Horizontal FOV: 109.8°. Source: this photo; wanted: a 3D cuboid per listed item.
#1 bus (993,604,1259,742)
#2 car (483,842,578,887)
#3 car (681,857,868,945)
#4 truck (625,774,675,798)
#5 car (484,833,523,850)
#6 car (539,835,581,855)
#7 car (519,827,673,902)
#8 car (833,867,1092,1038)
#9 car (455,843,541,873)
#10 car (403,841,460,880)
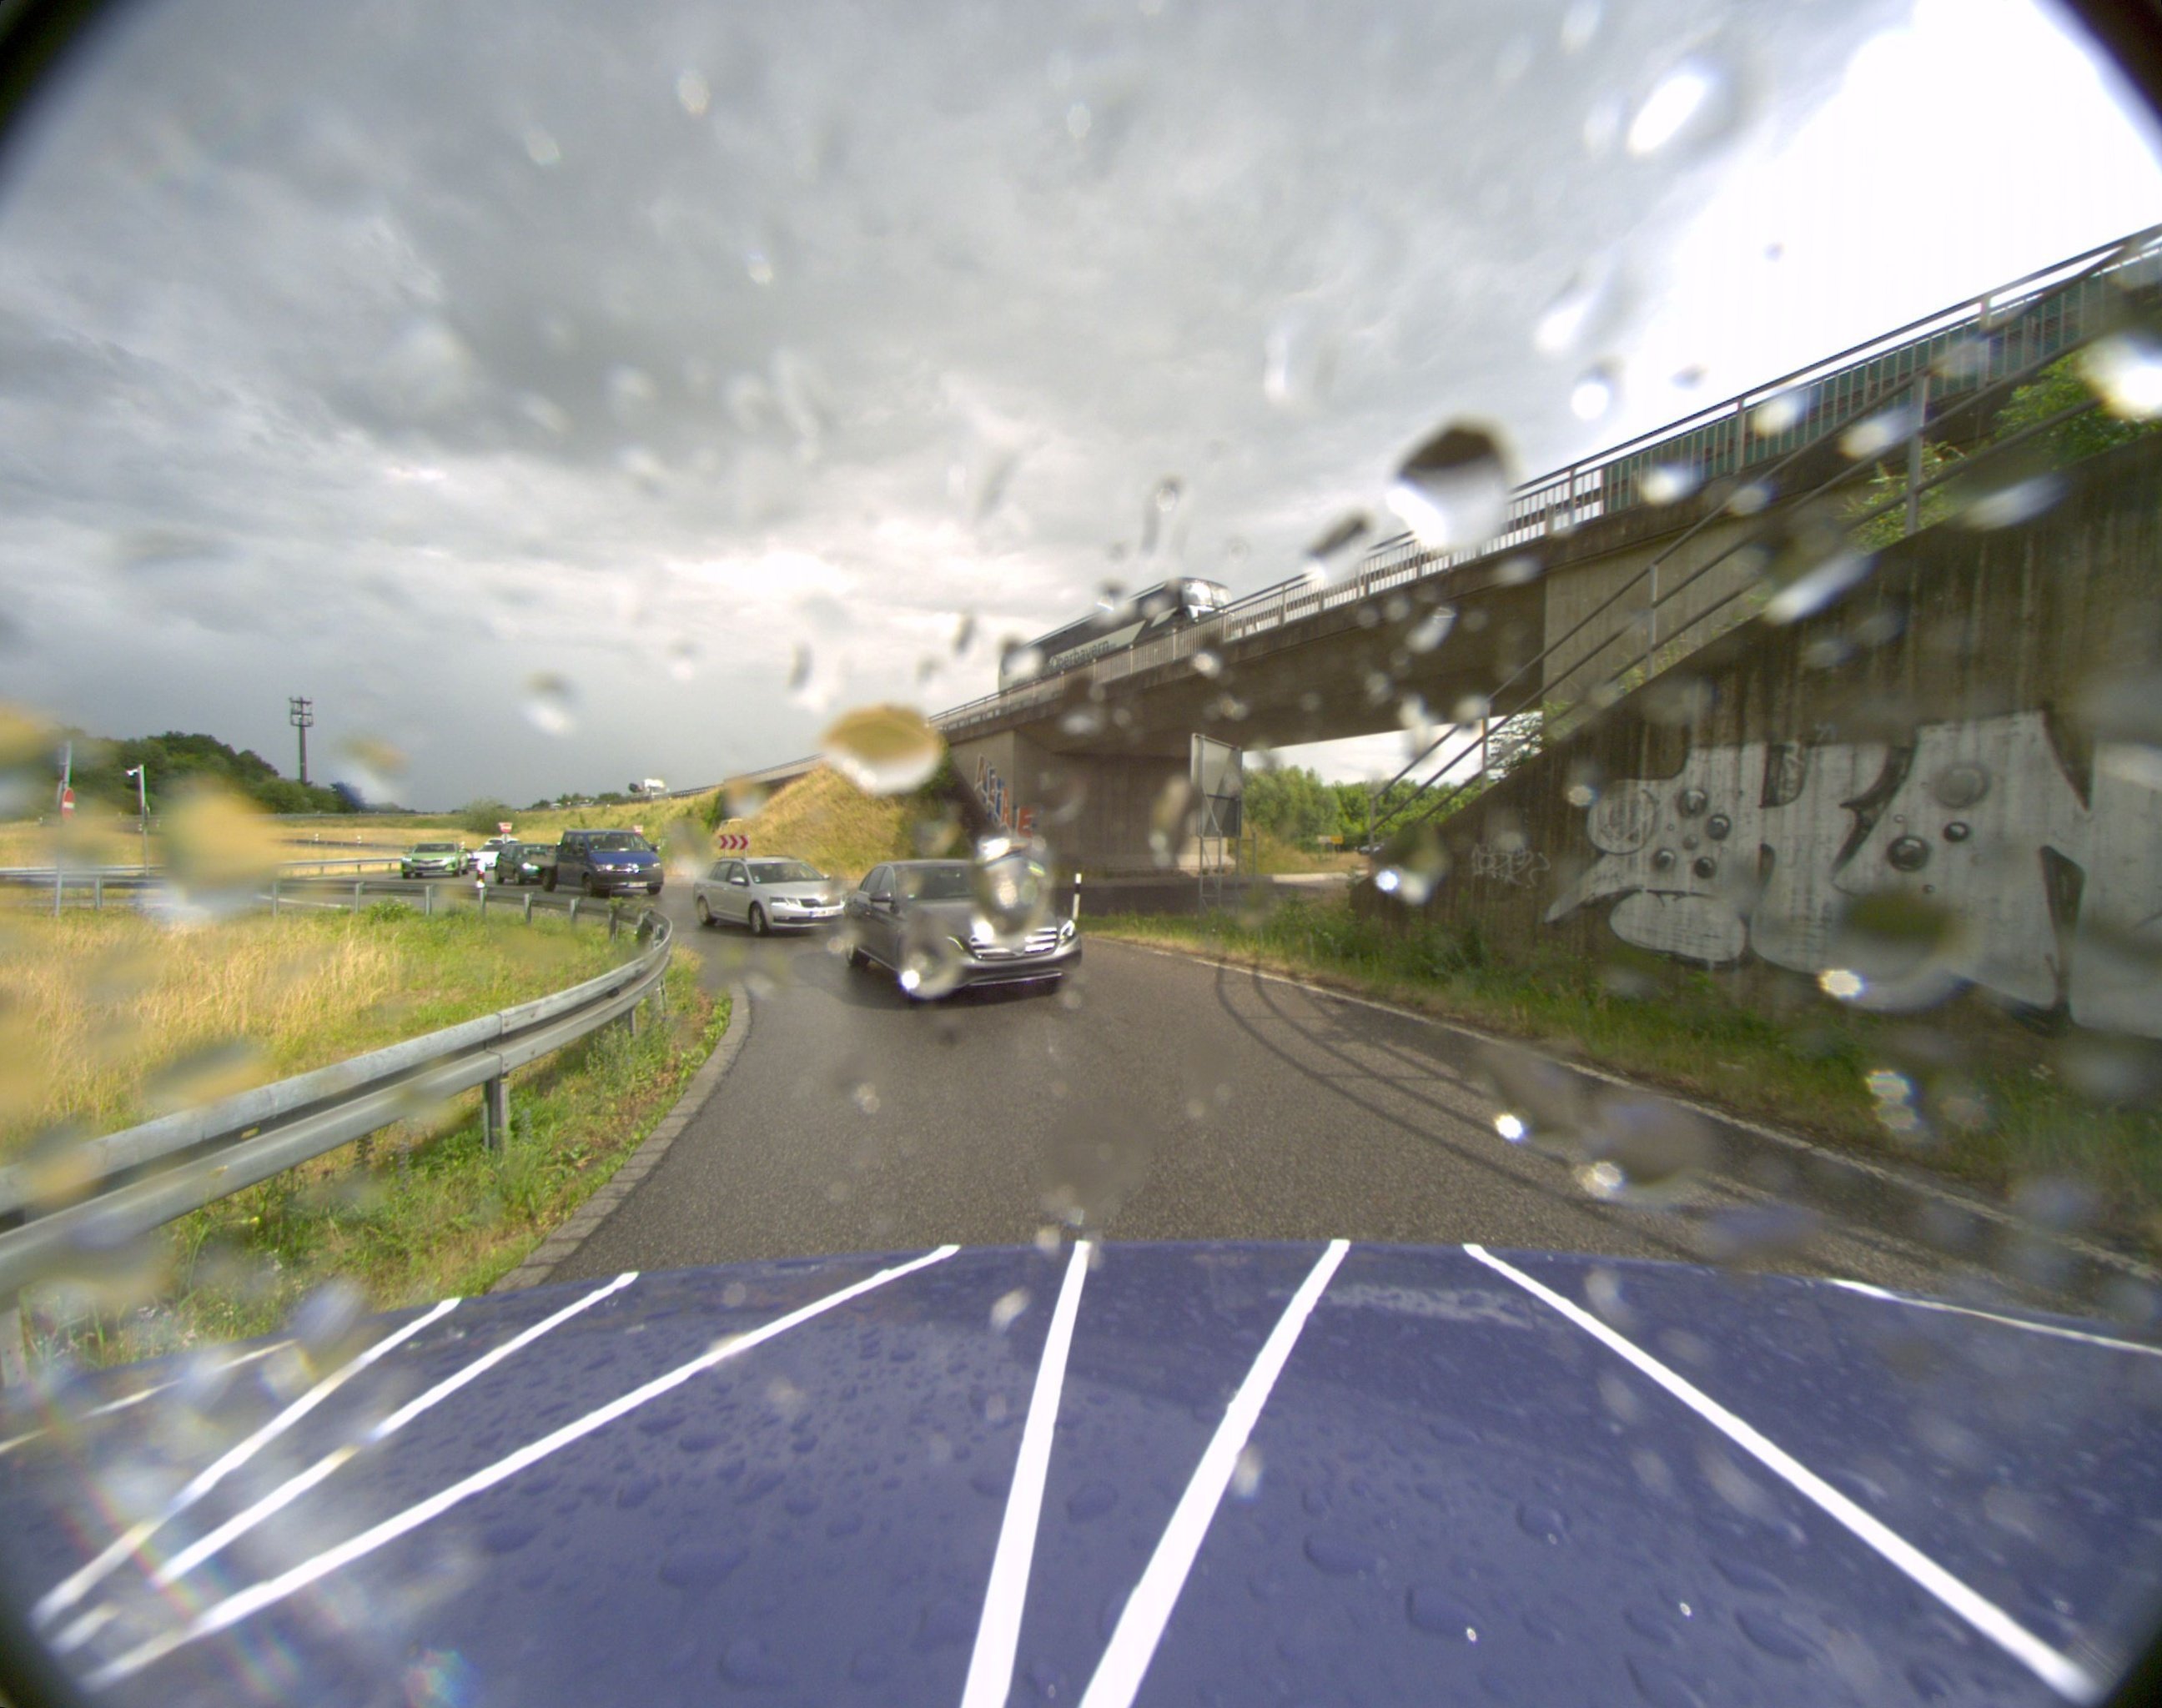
[{"bbox_3d":[0.938,-6.817,31.188,2.617,3.063,14.421,-3,4,-34],"label":"bus"},{"bbox_3d":[-19.695,0.320,27.147,3.834,1.466,1.661,2,2,37],"label":"car"},{"bbox_3d":[-6.246,0.818,15.233,4.336,1.391,1.802,1,3,43],"label":"car"},{"bbox_3d":[-65.701,-10.289,115.767,9.251,3.177,3.167,2,4,38],"label":"truck"},{"bbox_3d":[-46.616,-1.018,61.284,3.762,1.283,1.715,2,2,40],"label":"car"},{"bbox_3d":[-39.275,-0.697,57.206,3.918,1.466,1.622,2,2,40],"label":"car"},{"bbox_3d":[-14.587,0.216,22.725,5.664,1.904,1.897,3,3,36],"label":"car"},{"bbox_3d":[-1.730,0.936,9.331,1.774,1.383,4.580,-2,1,-27],"label":"car"},{"bbox_3d":[-31.683,0.178,41.449,1.617,1.466,3.929,1,1,0],"label":"car"},{"bbox_3d":[-27.390,0.222,32.129,1.621,1.466,3.835,-1,2,-38],"label":"car"}]
